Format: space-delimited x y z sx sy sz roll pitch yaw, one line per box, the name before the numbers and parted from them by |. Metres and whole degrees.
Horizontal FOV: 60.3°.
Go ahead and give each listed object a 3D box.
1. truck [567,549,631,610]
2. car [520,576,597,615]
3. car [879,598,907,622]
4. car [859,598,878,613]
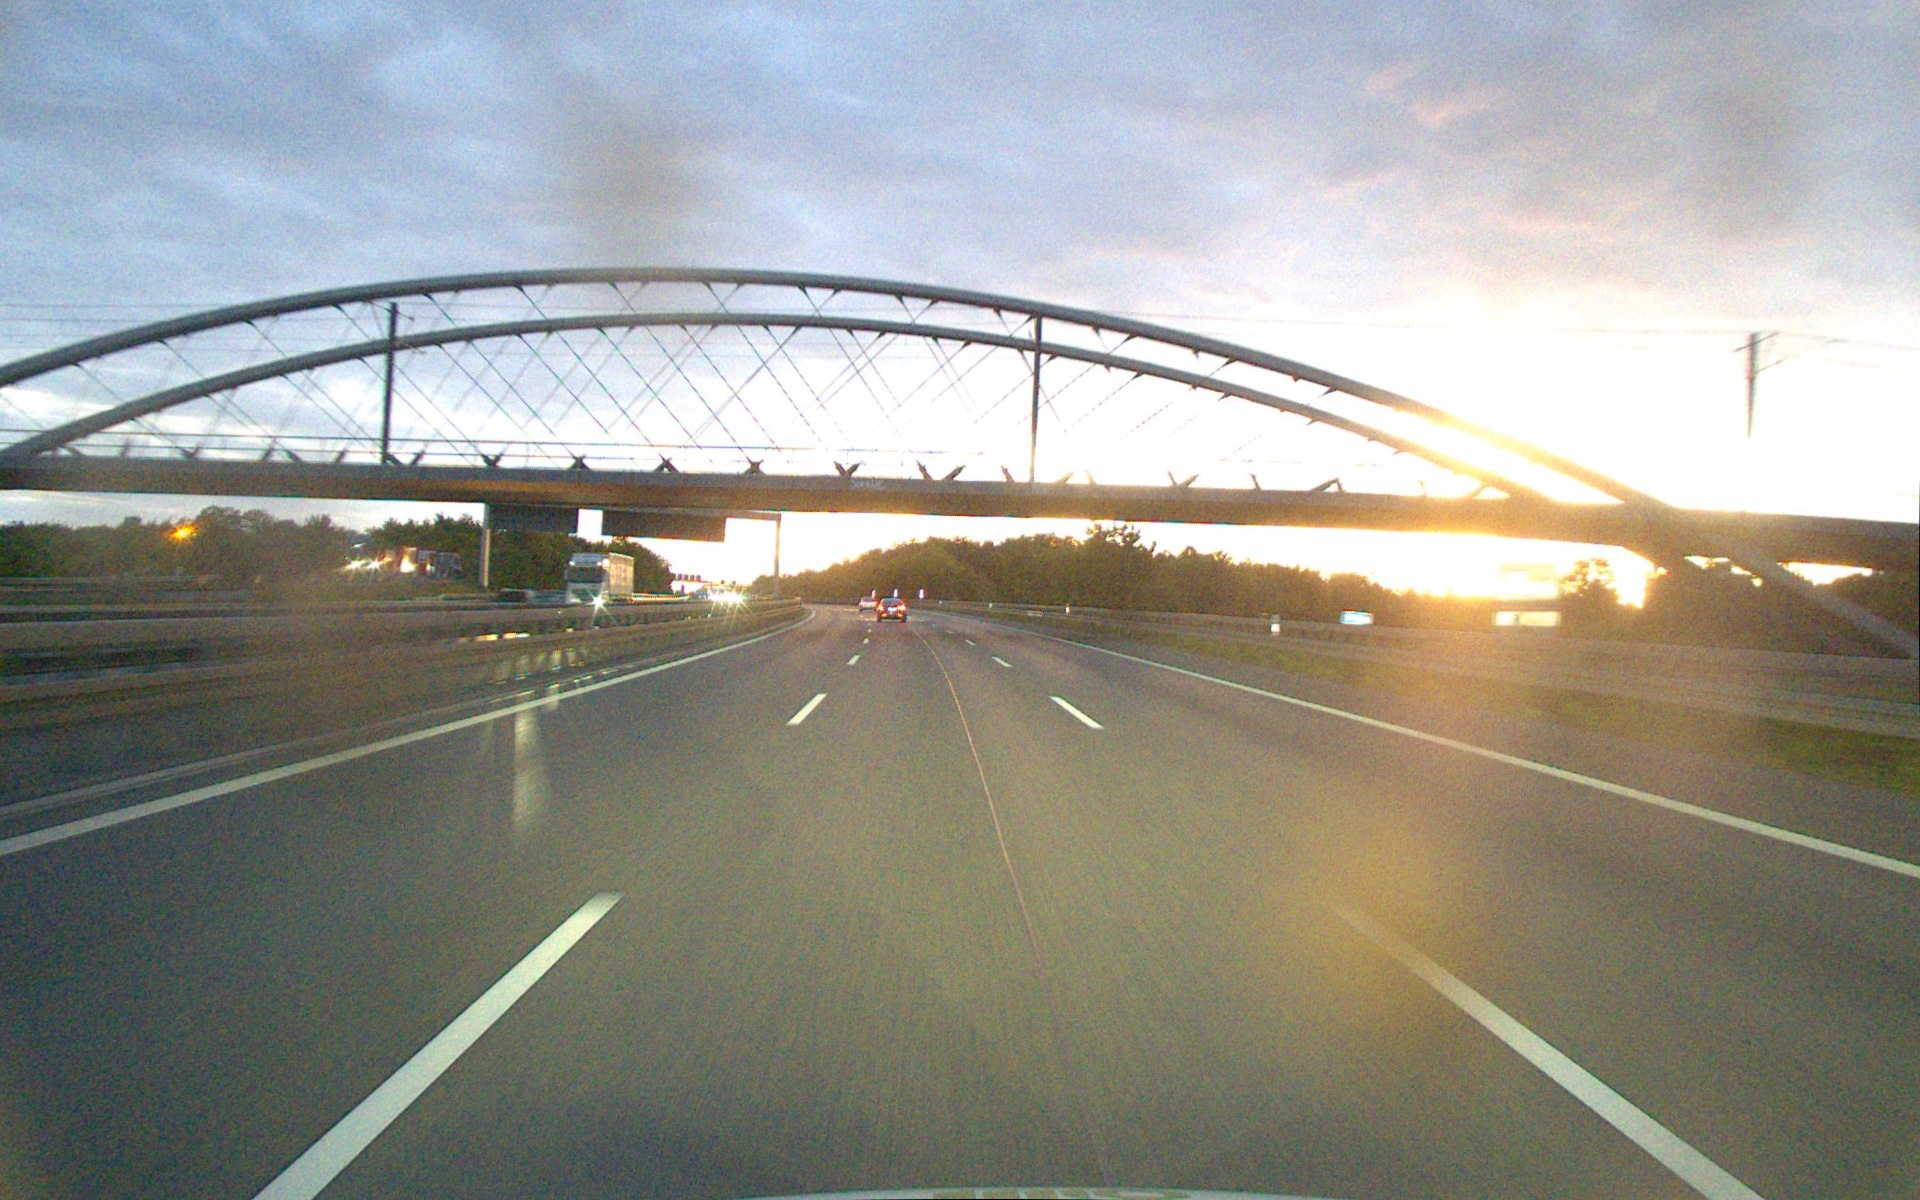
truck | -25.520 -1.406 117.605 2.769 4.119 12.203 1 0 -5
car | -15.534 -0.163 64.207 1.953 1.428 4.328 1 0 -1
car | -4.215 0.638 103.740 1.656 1.426 3.406 1 -1 -3
car | -9.274 0.610 167.562 1.655 1.426 3.408 0 -2 0
